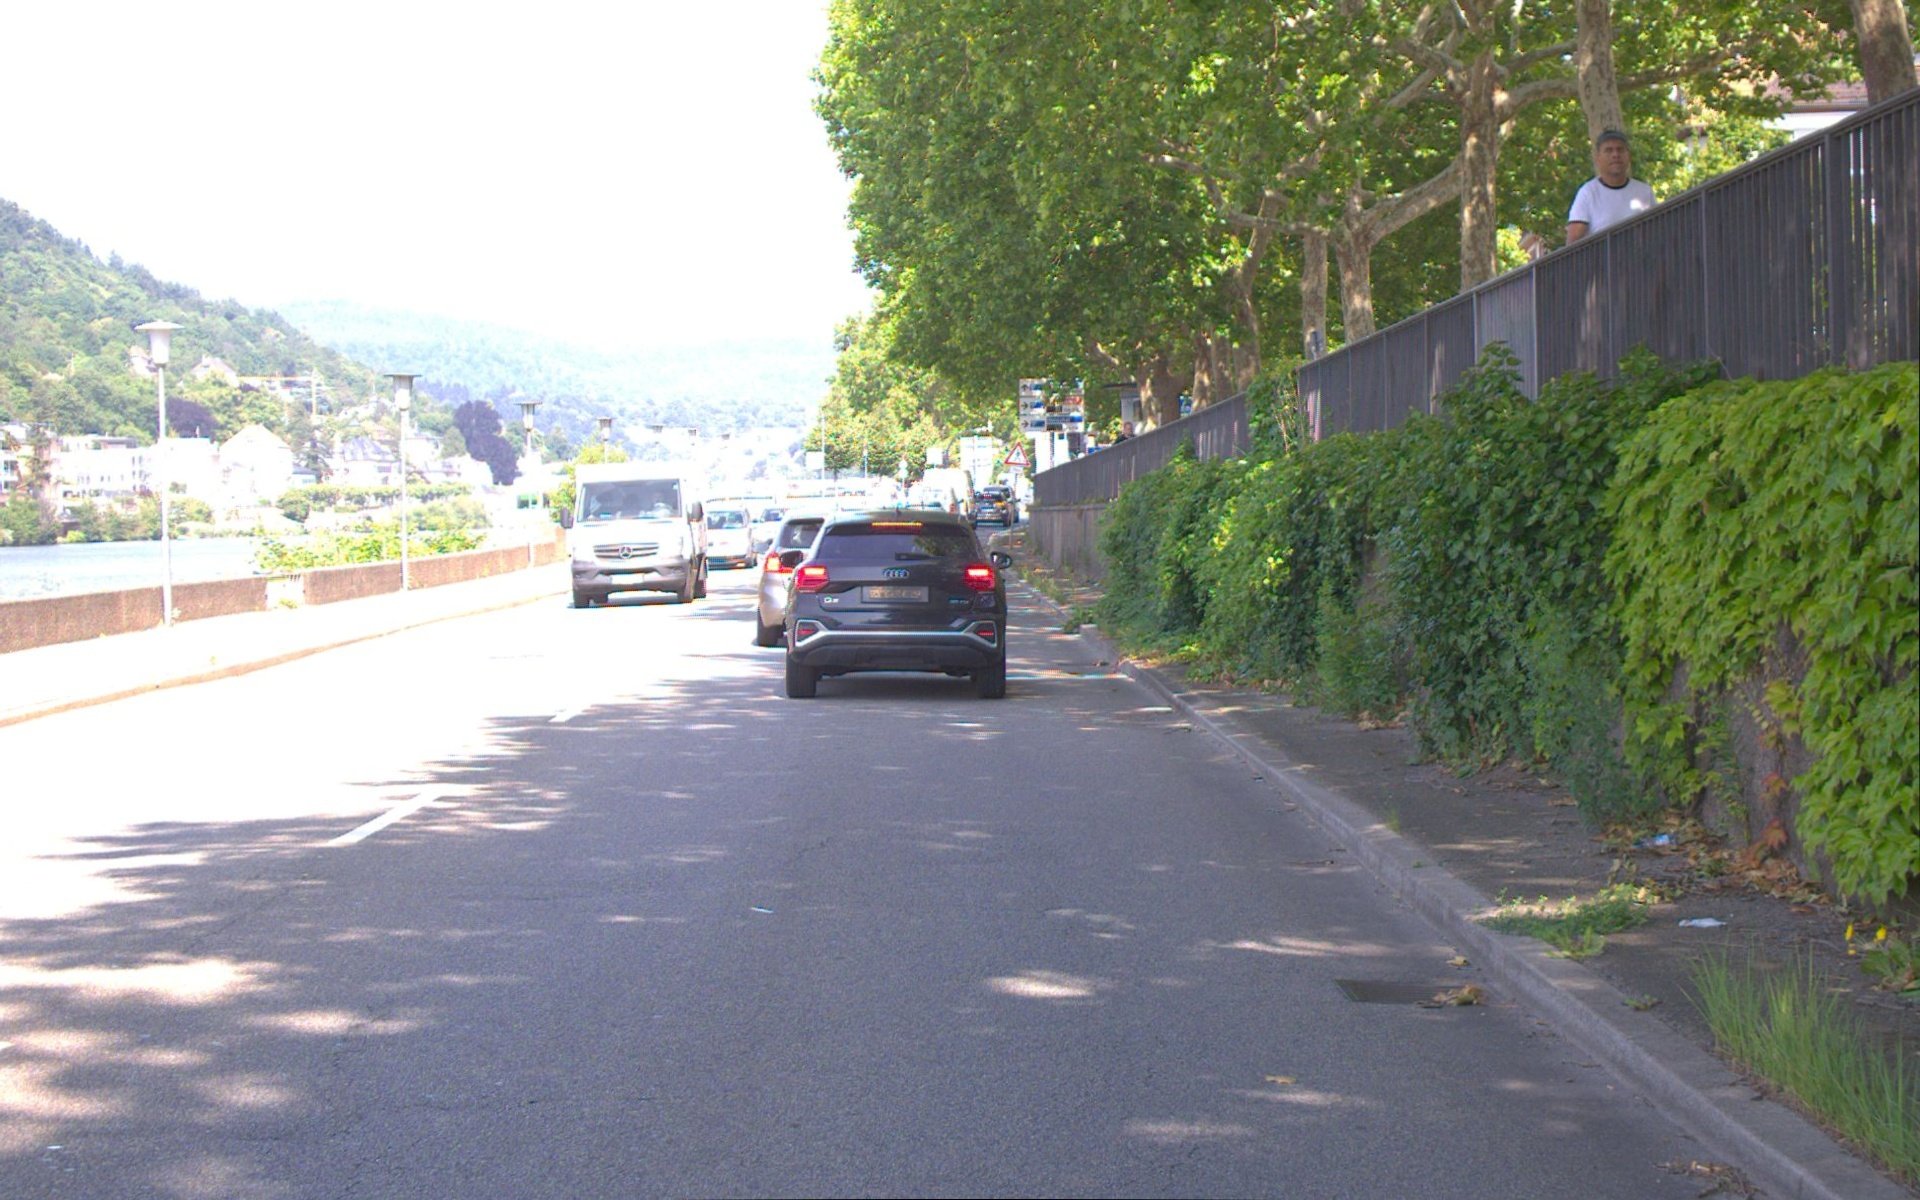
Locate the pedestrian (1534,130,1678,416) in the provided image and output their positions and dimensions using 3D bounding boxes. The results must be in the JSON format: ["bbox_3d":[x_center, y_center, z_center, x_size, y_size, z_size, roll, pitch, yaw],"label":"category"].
[{"bbox_3d":[3.703,-1.863,19.735,0.664,1.585,0.651,-1,1,-1],"label":"pedestrian"}]

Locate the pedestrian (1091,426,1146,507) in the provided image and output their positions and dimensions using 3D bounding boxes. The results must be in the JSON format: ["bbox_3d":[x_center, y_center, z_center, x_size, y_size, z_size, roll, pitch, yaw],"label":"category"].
[{"bbox_3d":[3.206,-2.709,69.782,0.936,1.574,1.028,-3,2,-3],"label":"pedestrian"}]

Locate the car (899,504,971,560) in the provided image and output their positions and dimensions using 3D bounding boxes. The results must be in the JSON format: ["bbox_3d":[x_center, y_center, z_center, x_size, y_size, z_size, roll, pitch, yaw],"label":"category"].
[{"bbox_3d":[-0.687,-1.833,91.476,1.828,1.439,4.001,-1,2,-1],"label":"car"}]

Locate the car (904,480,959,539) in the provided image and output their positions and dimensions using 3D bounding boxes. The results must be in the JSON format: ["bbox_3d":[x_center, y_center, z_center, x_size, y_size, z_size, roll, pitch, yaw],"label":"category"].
[{"bbox_3d":[-1.105,-3.418,129.660,1.993,2.162,4.001,0,2,-2],"label":"car"}]

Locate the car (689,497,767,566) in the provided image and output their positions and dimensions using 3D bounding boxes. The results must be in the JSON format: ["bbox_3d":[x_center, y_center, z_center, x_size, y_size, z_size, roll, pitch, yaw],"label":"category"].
[{"bbox_3d":[-5.880,-1.752,87.457,1.731,1.644,4.178,-2,2,-1],"label":"car"}]

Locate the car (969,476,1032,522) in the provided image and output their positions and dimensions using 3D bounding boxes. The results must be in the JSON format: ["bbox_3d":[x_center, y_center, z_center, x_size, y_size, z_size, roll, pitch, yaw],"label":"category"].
[{"bbox_3d":[1.913,-4.809,163.719,2.661,2.006,5.825,-3,2,-1],"label":"car"}]

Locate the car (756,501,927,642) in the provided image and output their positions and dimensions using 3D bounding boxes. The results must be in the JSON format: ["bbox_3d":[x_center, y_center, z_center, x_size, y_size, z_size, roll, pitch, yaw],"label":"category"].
[{"bbox_3d":[-1.324,-0.362,38.984,1.828,1.506,4.001,0,2,-1],"label":"car"}]

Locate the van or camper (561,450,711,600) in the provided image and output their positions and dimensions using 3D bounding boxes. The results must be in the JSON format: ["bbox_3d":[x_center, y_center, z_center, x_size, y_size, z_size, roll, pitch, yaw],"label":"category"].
[{"bbox_3d":[-5.434,-1.289,58.310,2.077,2.390,5.386,-1,2,-1],"label":"van or camper"}]

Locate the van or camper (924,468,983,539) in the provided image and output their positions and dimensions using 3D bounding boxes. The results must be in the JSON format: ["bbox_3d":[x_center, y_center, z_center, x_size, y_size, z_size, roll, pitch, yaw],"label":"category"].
[{"bbox_3d":[-0.256,-3.997,141.933,2.310,2.837,4.246,-1,2,1],"label":"van or camper"}]

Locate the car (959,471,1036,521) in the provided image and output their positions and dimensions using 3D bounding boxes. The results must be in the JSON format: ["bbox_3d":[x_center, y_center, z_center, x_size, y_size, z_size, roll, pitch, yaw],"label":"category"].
[{"bbox_3d":[1.635,-4.660,153.422,3.098,2.006,5.825,-3,2,-1],"label":"car"}]

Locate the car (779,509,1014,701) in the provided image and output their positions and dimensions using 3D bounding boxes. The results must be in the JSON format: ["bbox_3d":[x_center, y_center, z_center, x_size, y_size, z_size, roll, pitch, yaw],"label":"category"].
[{"bbox_3d":[-0.544,-0.015,28.835,1.828,1.481,4.001,0,2,-1],"label":"car"}]

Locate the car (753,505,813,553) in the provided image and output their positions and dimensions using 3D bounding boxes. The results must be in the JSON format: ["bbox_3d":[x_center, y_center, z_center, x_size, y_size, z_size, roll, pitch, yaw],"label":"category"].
[{"bbox_3d":[-5.546,-2.248,107.993,1.731,1.437,4.046,-2,2,-1],"label":"car"}]
